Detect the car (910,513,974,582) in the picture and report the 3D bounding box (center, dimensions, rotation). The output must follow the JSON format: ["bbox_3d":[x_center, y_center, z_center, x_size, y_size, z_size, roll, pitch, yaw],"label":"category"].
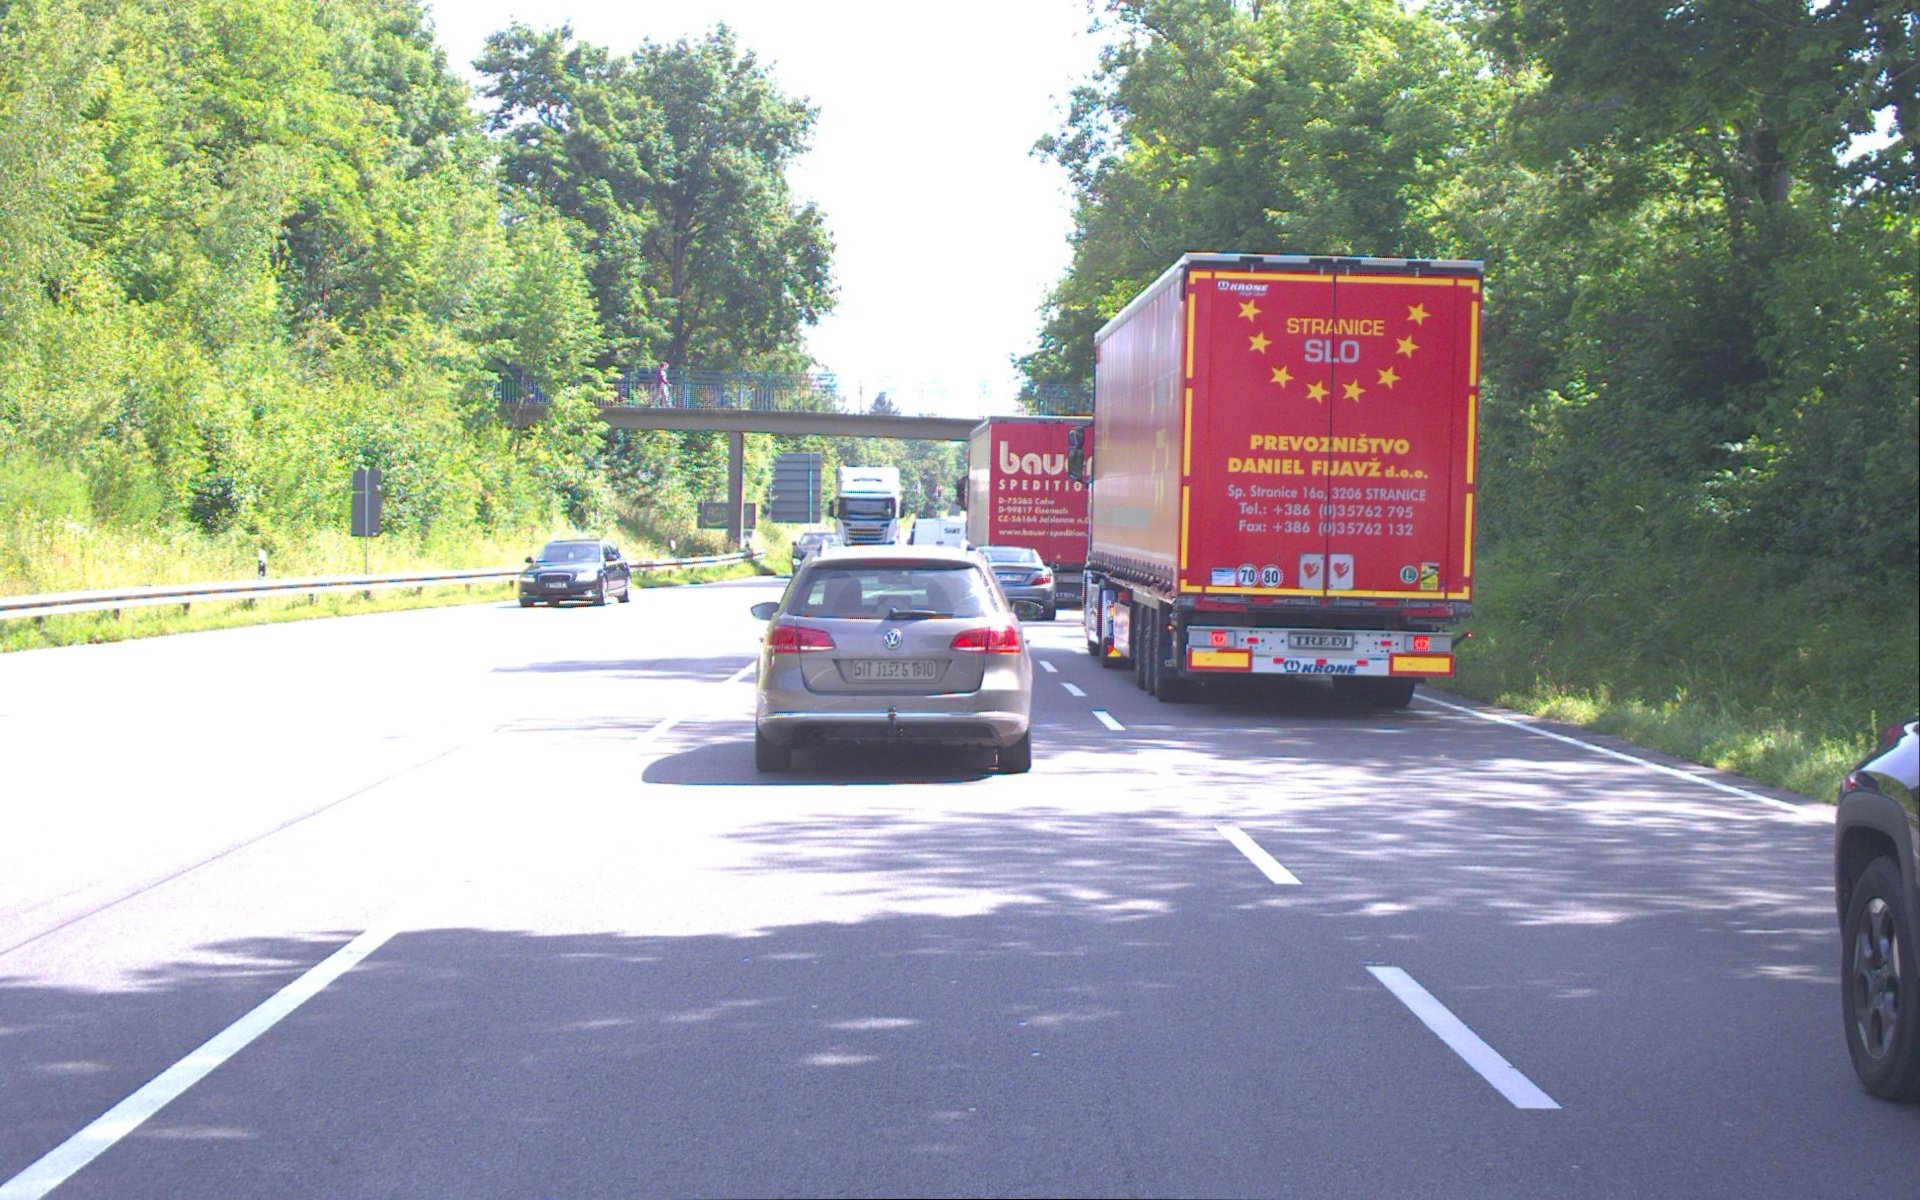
[{"bbox_3d":[-0.542,-1.491,98.541,1.770,1.930,3.978,0,0,-1],"label":"car"}]

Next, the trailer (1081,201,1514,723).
[{"bbox_3d":[3.095,-1.232,35.728,2.839,4.350,13.168,2,1,-1],"label":"trailer"}]

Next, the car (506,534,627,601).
[{"bbox_3d":[-8.498,-0.705,74.533,1.963,1.410,4.000,0,1,3],"label":"car"}]

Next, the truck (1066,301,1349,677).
[{"bbox_3d":[2.946,-1.309,42.601,2.870,4.266,5.839,2,0,-1],"label":"truck"}]

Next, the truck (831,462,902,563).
[{"bbox_3d":[-3.766,-3.472,138.559,2.773,3.917,9.467,0,0,-2],"label":"truck"}]

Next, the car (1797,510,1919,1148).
[{"bbox_3d":[3.391,0.593,8.029,1.770,1.649,4.000,-1,0,-2],"label":"car"}]

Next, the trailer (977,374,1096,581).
[{"bbox_3d":[1.688,-2.568,76.915,2.395,4.229,13.077,0,1,1],"label":"trailer"}]

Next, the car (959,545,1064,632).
[{"bbox_3d":[0.904,-0.221,62.791,1.770,1.508,4.000,0,1,-1],"label":"car"}]

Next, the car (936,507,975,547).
[{"bbox_3d":[-0.255,-3.850,181.689,1.993,2.007,4.000,0,0,-1],"label":"car"}]

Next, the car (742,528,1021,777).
[{"bbox_3d":[-0.516,0.303,22.985,1.691,1.508,4.000,0,1,-1],"label":"car"}]

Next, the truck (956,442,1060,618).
[{"bbox_3d":[1.176,-1.663,83.172,2.406,4.113,5.521,0,0,1],"label":"truck"}]
